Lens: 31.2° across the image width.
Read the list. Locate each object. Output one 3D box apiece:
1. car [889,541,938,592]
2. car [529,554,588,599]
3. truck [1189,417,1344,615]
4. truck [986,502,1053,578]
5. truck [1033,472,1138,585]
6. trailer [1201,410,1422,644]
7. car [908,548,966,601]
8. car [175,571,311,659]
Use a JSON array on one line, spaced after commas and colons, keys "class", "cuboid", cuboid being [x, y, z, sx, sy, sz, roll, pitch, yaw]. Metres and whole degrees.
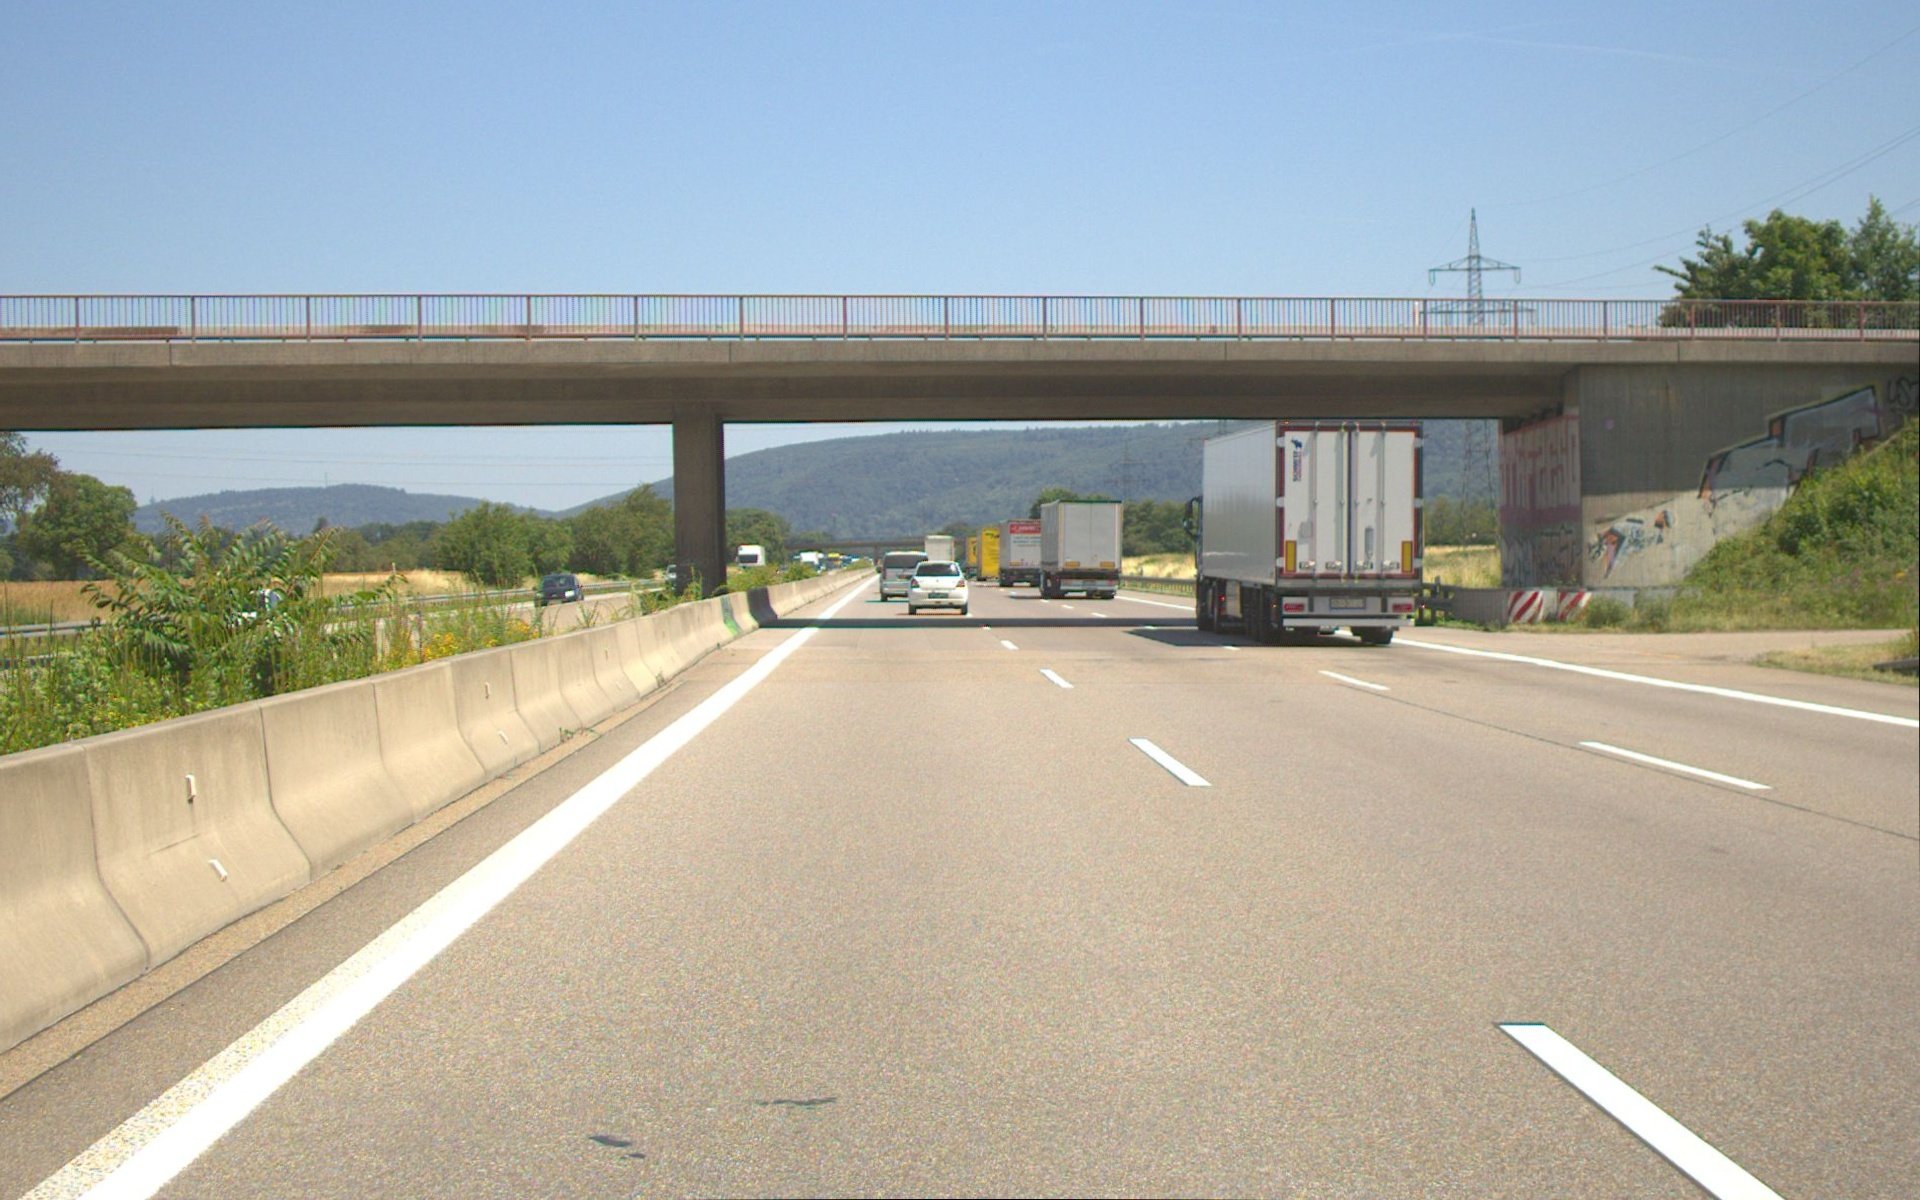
[{"class": "car", "cuboid": [-1.730, -1.281, 129.532, 1.761, 1.844, 4.000, 0, 1, 0]}, {"class": "car", "cuboid": [-15.523, -0.933, 132.993, 1.805, 1.667, 4.000, -1, 1, -1]}, {"class": "truck", "cuboid": [6.637, -1.805, 75.121, 2.795, 4.149, 5.723, 0, 1, -1]}, {"class": "truck", "cuboid": [3.585, -3.674, 211.229, 3.520, 4.401, 14.592, -2, 1, -1]}, {"class": "truck", "cuboid": [5.149, -2.964, 144.371, 3.520, 4.401, 14.592, -2, 1, -1]}, {"class": "trailer", "cuboid": [6.733, -1.405, 68.101, 2.795, 4.149, 13.956, 0, 1, -1]}, {"class": "car", "cuboid": [-0.640, -0.744, 98.326, 1.607, 1.462, 4.000, 0, 1, 0]}, {"class": "car", "cuboid": [-13.984, 0.275, 67.245, 1.806, 1.539, 3.877, -3, 1, -1]}]
